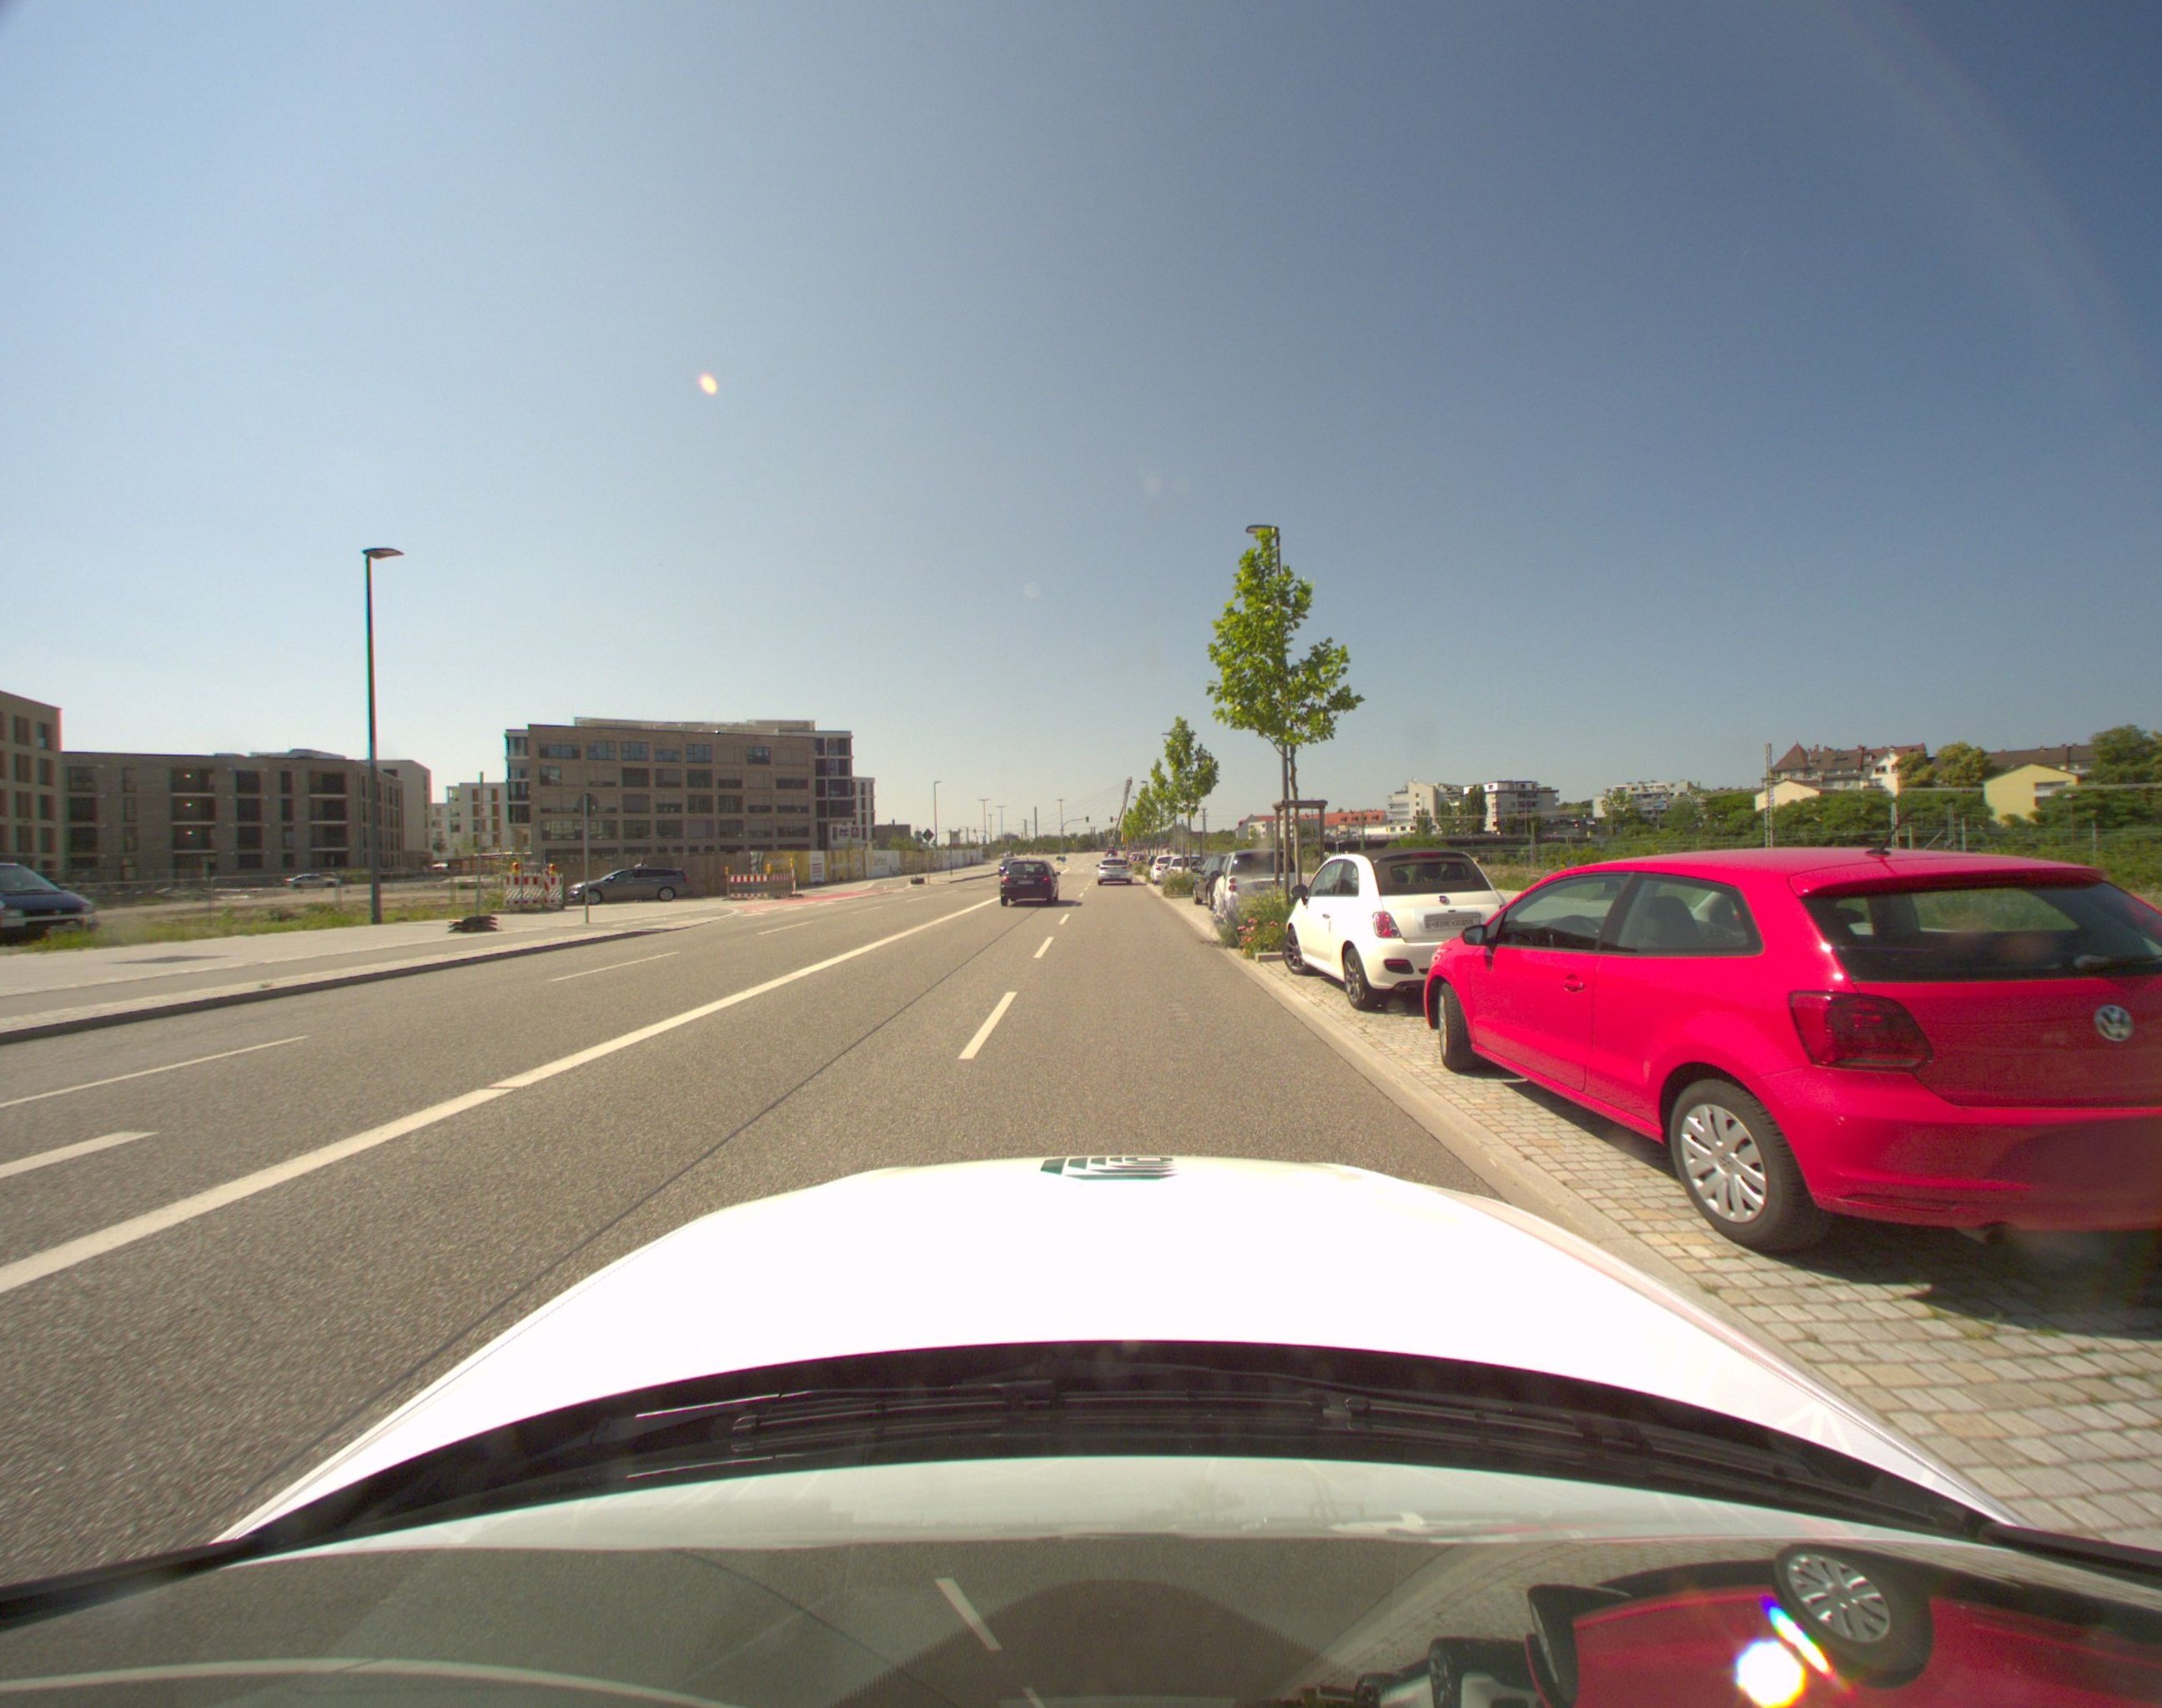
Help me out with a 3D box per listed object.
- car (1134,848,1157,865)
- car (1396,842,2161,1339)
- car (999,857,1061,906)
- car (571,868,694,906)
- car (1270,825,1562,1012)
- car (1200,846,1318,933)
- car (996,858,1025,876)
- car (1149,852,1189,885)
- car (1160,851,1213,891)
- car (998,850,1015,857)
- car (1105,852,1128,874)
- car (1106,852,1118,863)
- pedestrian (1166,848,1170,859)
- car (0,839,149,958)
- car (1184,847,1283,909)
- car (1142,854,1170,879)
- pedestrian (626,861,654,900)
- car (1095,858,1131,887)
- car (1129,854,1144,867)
[{"bbox_3d":[5.866,0.259,74.358,1.698,1.463,3.953,-3,-1,0],"label":"car"},{"bbox_3d":[3.268,0.666,4.381,1.711,1.451,4.002,0,1,2],"label":"car"},{"bbox_3d":[-1.586,0.828,26.241,1.613,1.416,3.728,-2,0,1],"label":"car"},{"bbox_3d":[-18.510,1.328,33.661,4.264,1.318,1.979,-2,0,-34],"label":"car"},{"bbox_3d":[3.328,0.614,8.913,1.711,1.524,3.643,-3,-2,2],"label":"car"},{"bbox_3d":[3.618,0.661,17.268,1.899,1.577,4.163,-2,0,5],"label":"car"},{"bbox_3d":[-5.678,1.058,65.972,1.697,1.352,4.458,-2,-1,2],"label":"car"},{"bbox_3d":[4.445,0.701,41.563,1.739,1.509,4.004,-2,0,3],"label":"car"},{"bbox_3d":[4.188,0.638,32.771,1.899,1.479,4.163,-2,0,5],"label":"car"},{"bbox_3d":[-18.073,-0.019,197.475,3.949,1.649,1.872,0,0,42],"label":"car"},{"bbox_3d":[2.815,0.694,64.966,1.771,1.569,4.002,-2,0,2],"label":"car"},{"bbox_3d":[4.573,0.481,119.376,1.771,1.568,4.003,-1,1,2],"label":"car"},{"bbox_3d":[12.305,-0.099,115.241,0.531,1.575,0.524,0,-2,2],"label":"pedestrian"},{"bbox_3d":[-22.558,0.912,16.028,5.428,2.173,2.394,-2,0,-2],"label":"car"},{"bbox_3d":[4.152,0.649,22.824,1.784,1.477,4.369,-3,-1,-1],"label":"car"},{"bbox_3d":[4.823,0.780,52.854,1.696,1.462,4.089,-2,0,4],"label":"car"},{"bbox_3d":[-19.130,1.142,35.335,0.679,1.684,0.760,-1,-2,21],"label":"pedestrian"},{"bbox_3d":[1.716,0.963,43.180,1.771,1.442,4.003,0,0,3],"label":"car"},{"bbox_3d":[6.728,0.752,99.296,1.689,1.475,4.208,-3,0,3],"label":"car"}]
